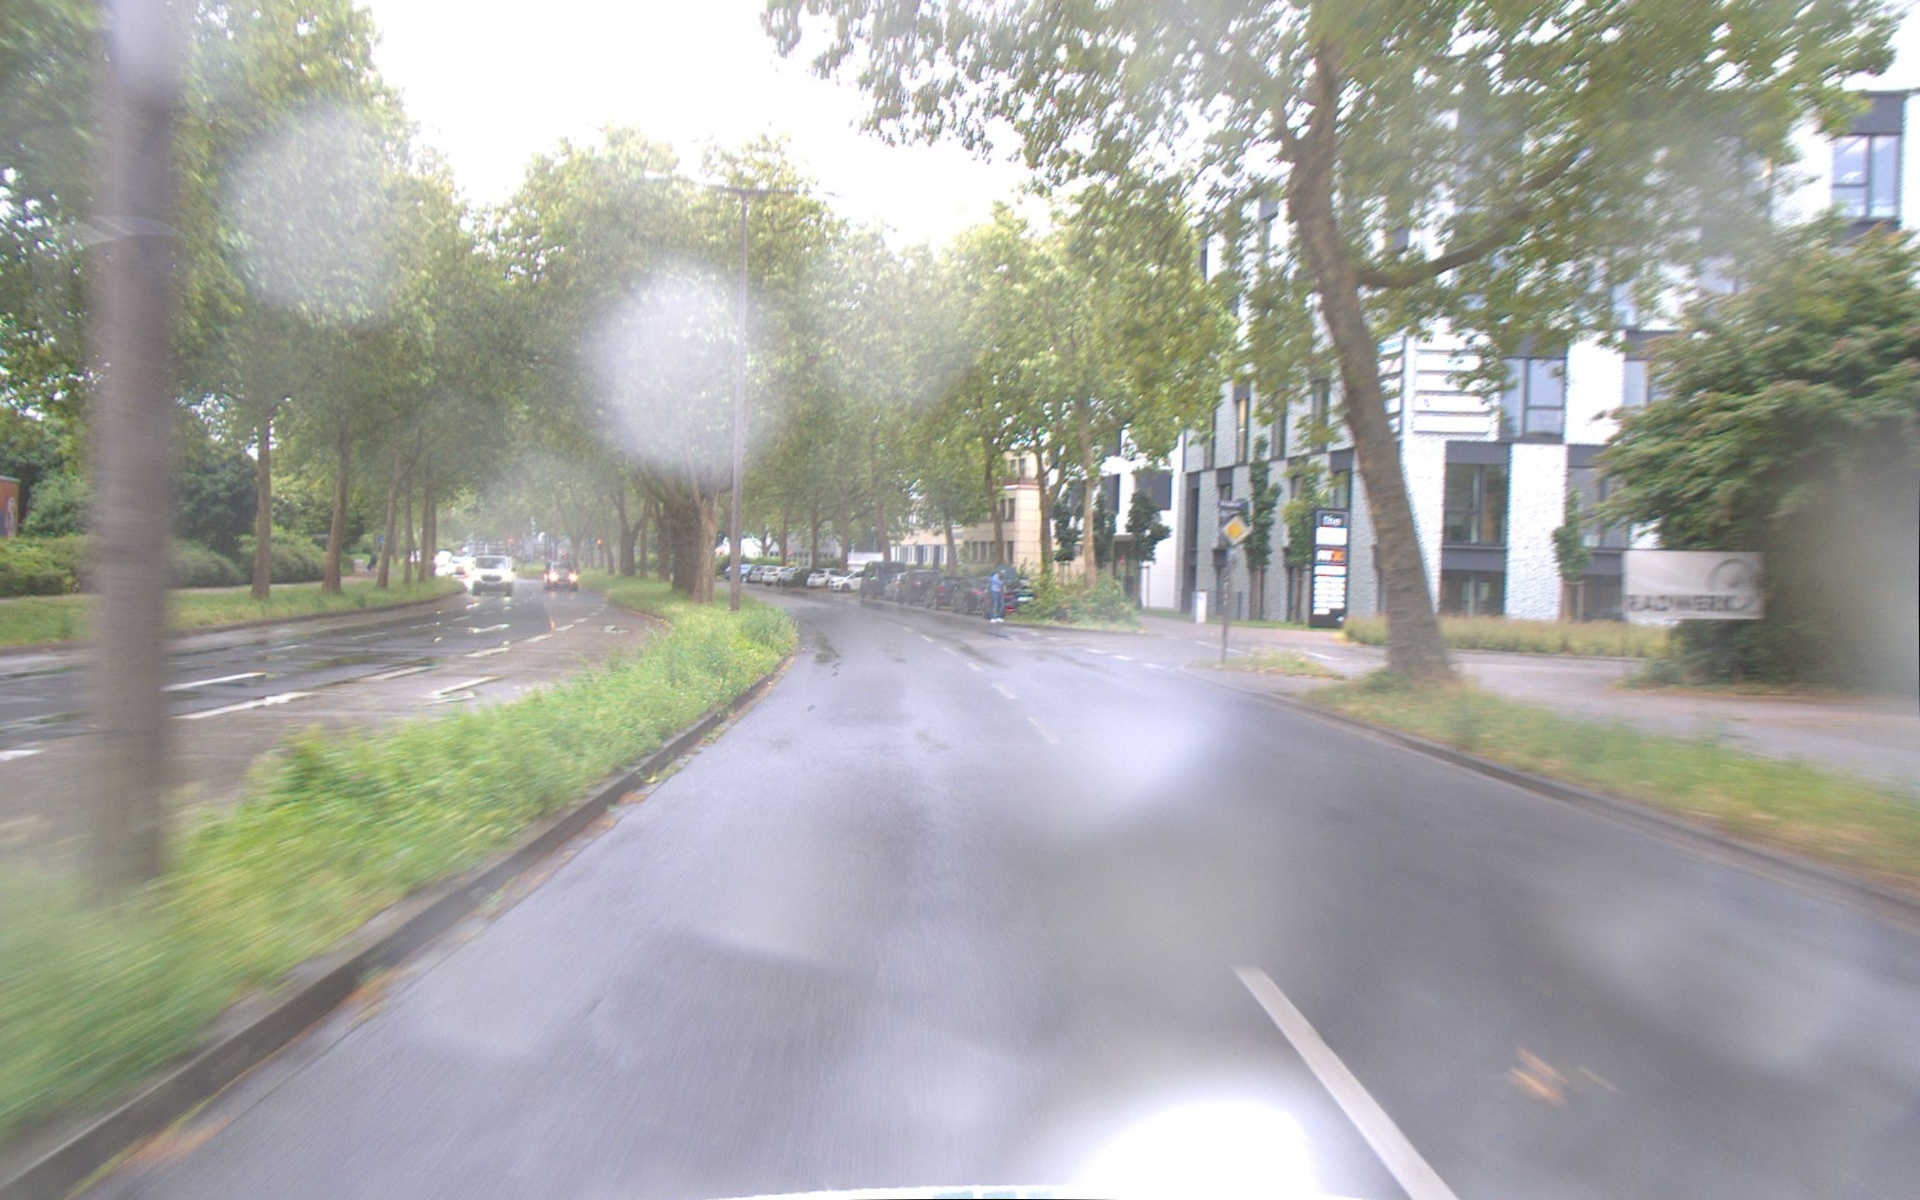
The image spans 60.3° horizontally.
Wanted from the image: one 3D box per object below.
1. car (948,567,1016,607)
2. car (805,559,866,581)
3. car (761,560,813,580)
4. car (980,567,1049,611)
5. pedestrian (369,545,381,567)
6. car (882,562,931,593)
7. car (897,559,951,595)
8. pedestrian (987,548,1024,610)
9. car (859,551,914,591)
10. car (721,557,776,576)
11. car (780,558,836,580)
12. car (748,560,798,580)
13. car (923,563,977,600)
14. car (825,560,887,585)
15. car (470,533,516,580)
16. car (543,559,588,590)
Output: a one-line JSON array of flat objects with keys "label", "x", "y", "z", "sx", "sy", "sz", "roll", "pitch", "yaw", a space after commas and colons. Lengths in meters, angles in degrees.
[{"label": "car", "x": 0.823, "y": -0.521, "z": 64.661, "sx": 1.712, "sy": 1.453, "sz": 5.092, "roll": 1, "pitch": 1, "yaw": -10}, {"label": "car", "x": -8.340, "y": -2.002, "z": 111.248, "sx": 1.718, "sy": 1.453, "sz": 4.013, "roll": 2, "pitch": 1, "yaw": 42}, {"label": "car", "x": -13.066, "y": -2.233, "z": 124.944, "sx": 3.664, "sy": 1.441, "sz": 1.721, "roll": 0, "pitch": 2, "yaw": -44}, {"label": "car", "x": 1.872, "y": -0.423, "z": 58.203, "sx": 1.710, "sy": 1.453, "sz": 4.853, "roll": -1, "pitch": 1, "yaw": -7}, {"label": "pedestrian", "x": -46.699, "y": -3.494, "z": 132.051, "sx": 0.819, "sy": 1.703, "sz": 0.893, "roll": 0, "pitch": 1, "yaw": -23}, {"label": "car", "x": -2.751, "y": -1.147, "z": 84.240, "sx": 1.713, "sy": 1.494, "sz": 4.293, "roll": 1, "pitch": 1, "yaw": -12}, {"label": "car", "x": -1.722, "y": -1.107, "z": 77.504, "sx": 1.713, "sy": 1.593, "sz": 4.359, "roll": 1, "pitch": 1, "yaw": -12}, {"label": "pedestrian", "x": 1.521, "y": -0.700, "z": 55.175, "sx": 0.819, "sy": 2.048, "sz": 0.893, "roll": 2, "pitch": 1, "yaw": 44}, {"label": "car", "x": -4.011, "y": -1.579, "z": 89.410, "sx": 2.084, "sy": 2.063, "sz": 5.512, "roll": 1, "pitch": 1, "yaw": -12}, {"label": "car", "x": -17.769, "y": -2.790, "z": 139.022, "sx": 4.462, "sy": 1.484, "sz": 1.721, "roll": 0, "pitch": 2, "yaw": -44}, {"label": "car", "x": -11.033, "y": -2.264, "z": 120.159, "sx": 1.717, "sy": 1.566, "sz": 4.016, "roll": 2, "pitch": 1, "yaw": 41}, {"label": "car", "x": -14.697, "y": -2.357, "z": 130.220, "sx": 1.744, "sy": 1.441, "sz": 3.670, "roll": 2, "pitch": 1, "yaw": 42}, {"label": "car", "x": -0.446, "y": -0.822, "z": 70.598, "sx": 1.711, "sy": 1.502, "sz": 4.075, "roll": 1, "pitch": 1, "yaw": -9}, {"label": "car", "x": -6.737, "y": -1.777, "z": 107.179, "sx": 3.599, "sy": 1.530, "sz": 1.731, "roll": 0, "pitch": 3, "yaw": -32}, {"label": "car", "x": -23.704, "y": -2.192, "z": 84.004, "sx": 1.995, "sy": 2.265, "sz": 5.416, "roll": 1, "pitch": 1, "yaw": -14}, {"label": "car", "x": -23.623, "y": -1.545, "z": 99.000, "sx": 2.001, "sy": 1.766, "sz": 4.924, "roll": 1, "pitch": 1, "yaw": -21}]
